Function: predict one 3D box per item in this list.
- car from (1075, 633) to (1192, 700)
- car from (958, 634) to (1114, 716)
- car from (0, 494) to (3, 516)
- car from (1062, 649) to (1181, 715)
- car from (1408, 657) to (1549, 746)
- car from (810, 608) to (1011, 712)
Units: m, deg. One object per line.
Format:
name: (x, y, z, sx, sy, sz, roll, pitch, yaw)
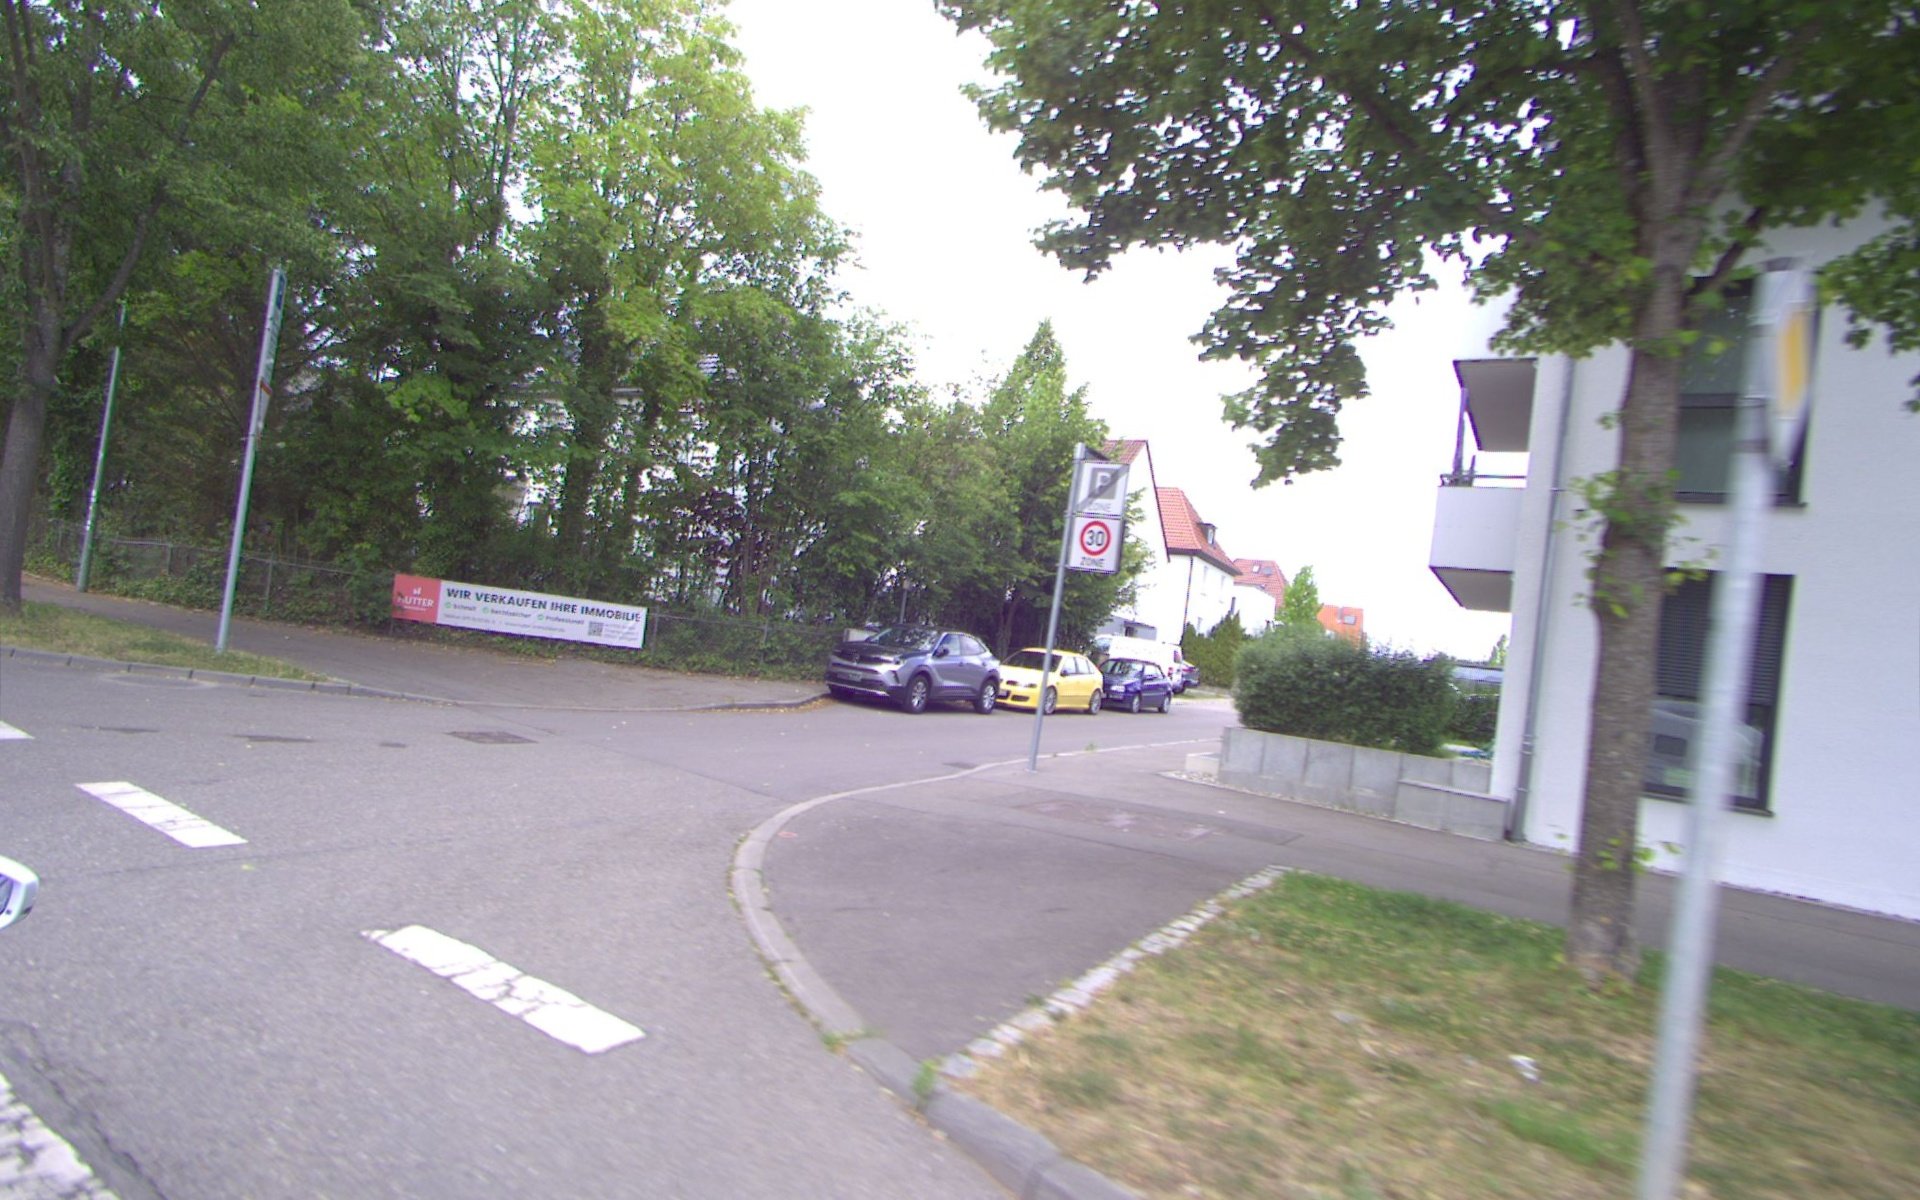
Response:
car: (6.824, 2.603, 39.602, 3.929, 2.037, 2.000, 7, -2, 27)
car: (1.819, 1.752, 22.874, 1.764, 1.433, 3.995, 8, -2, 32)
car: (-16.291, -1.126, 14.755, 4.942, 1.460, 2.025, 7, -2, 32)
car: (4.561, 2.311, 27.976, 1.763, 1.433, 3.996, 8, -2, 31)
car: (18.714, 3.634, 36.422, 4.173, 2.538, 1.999, 7, -1, 28)
car: (-0.772, 1.171, 18.557, 1.762, 1.476, 3.998, 8, -2, 28)
